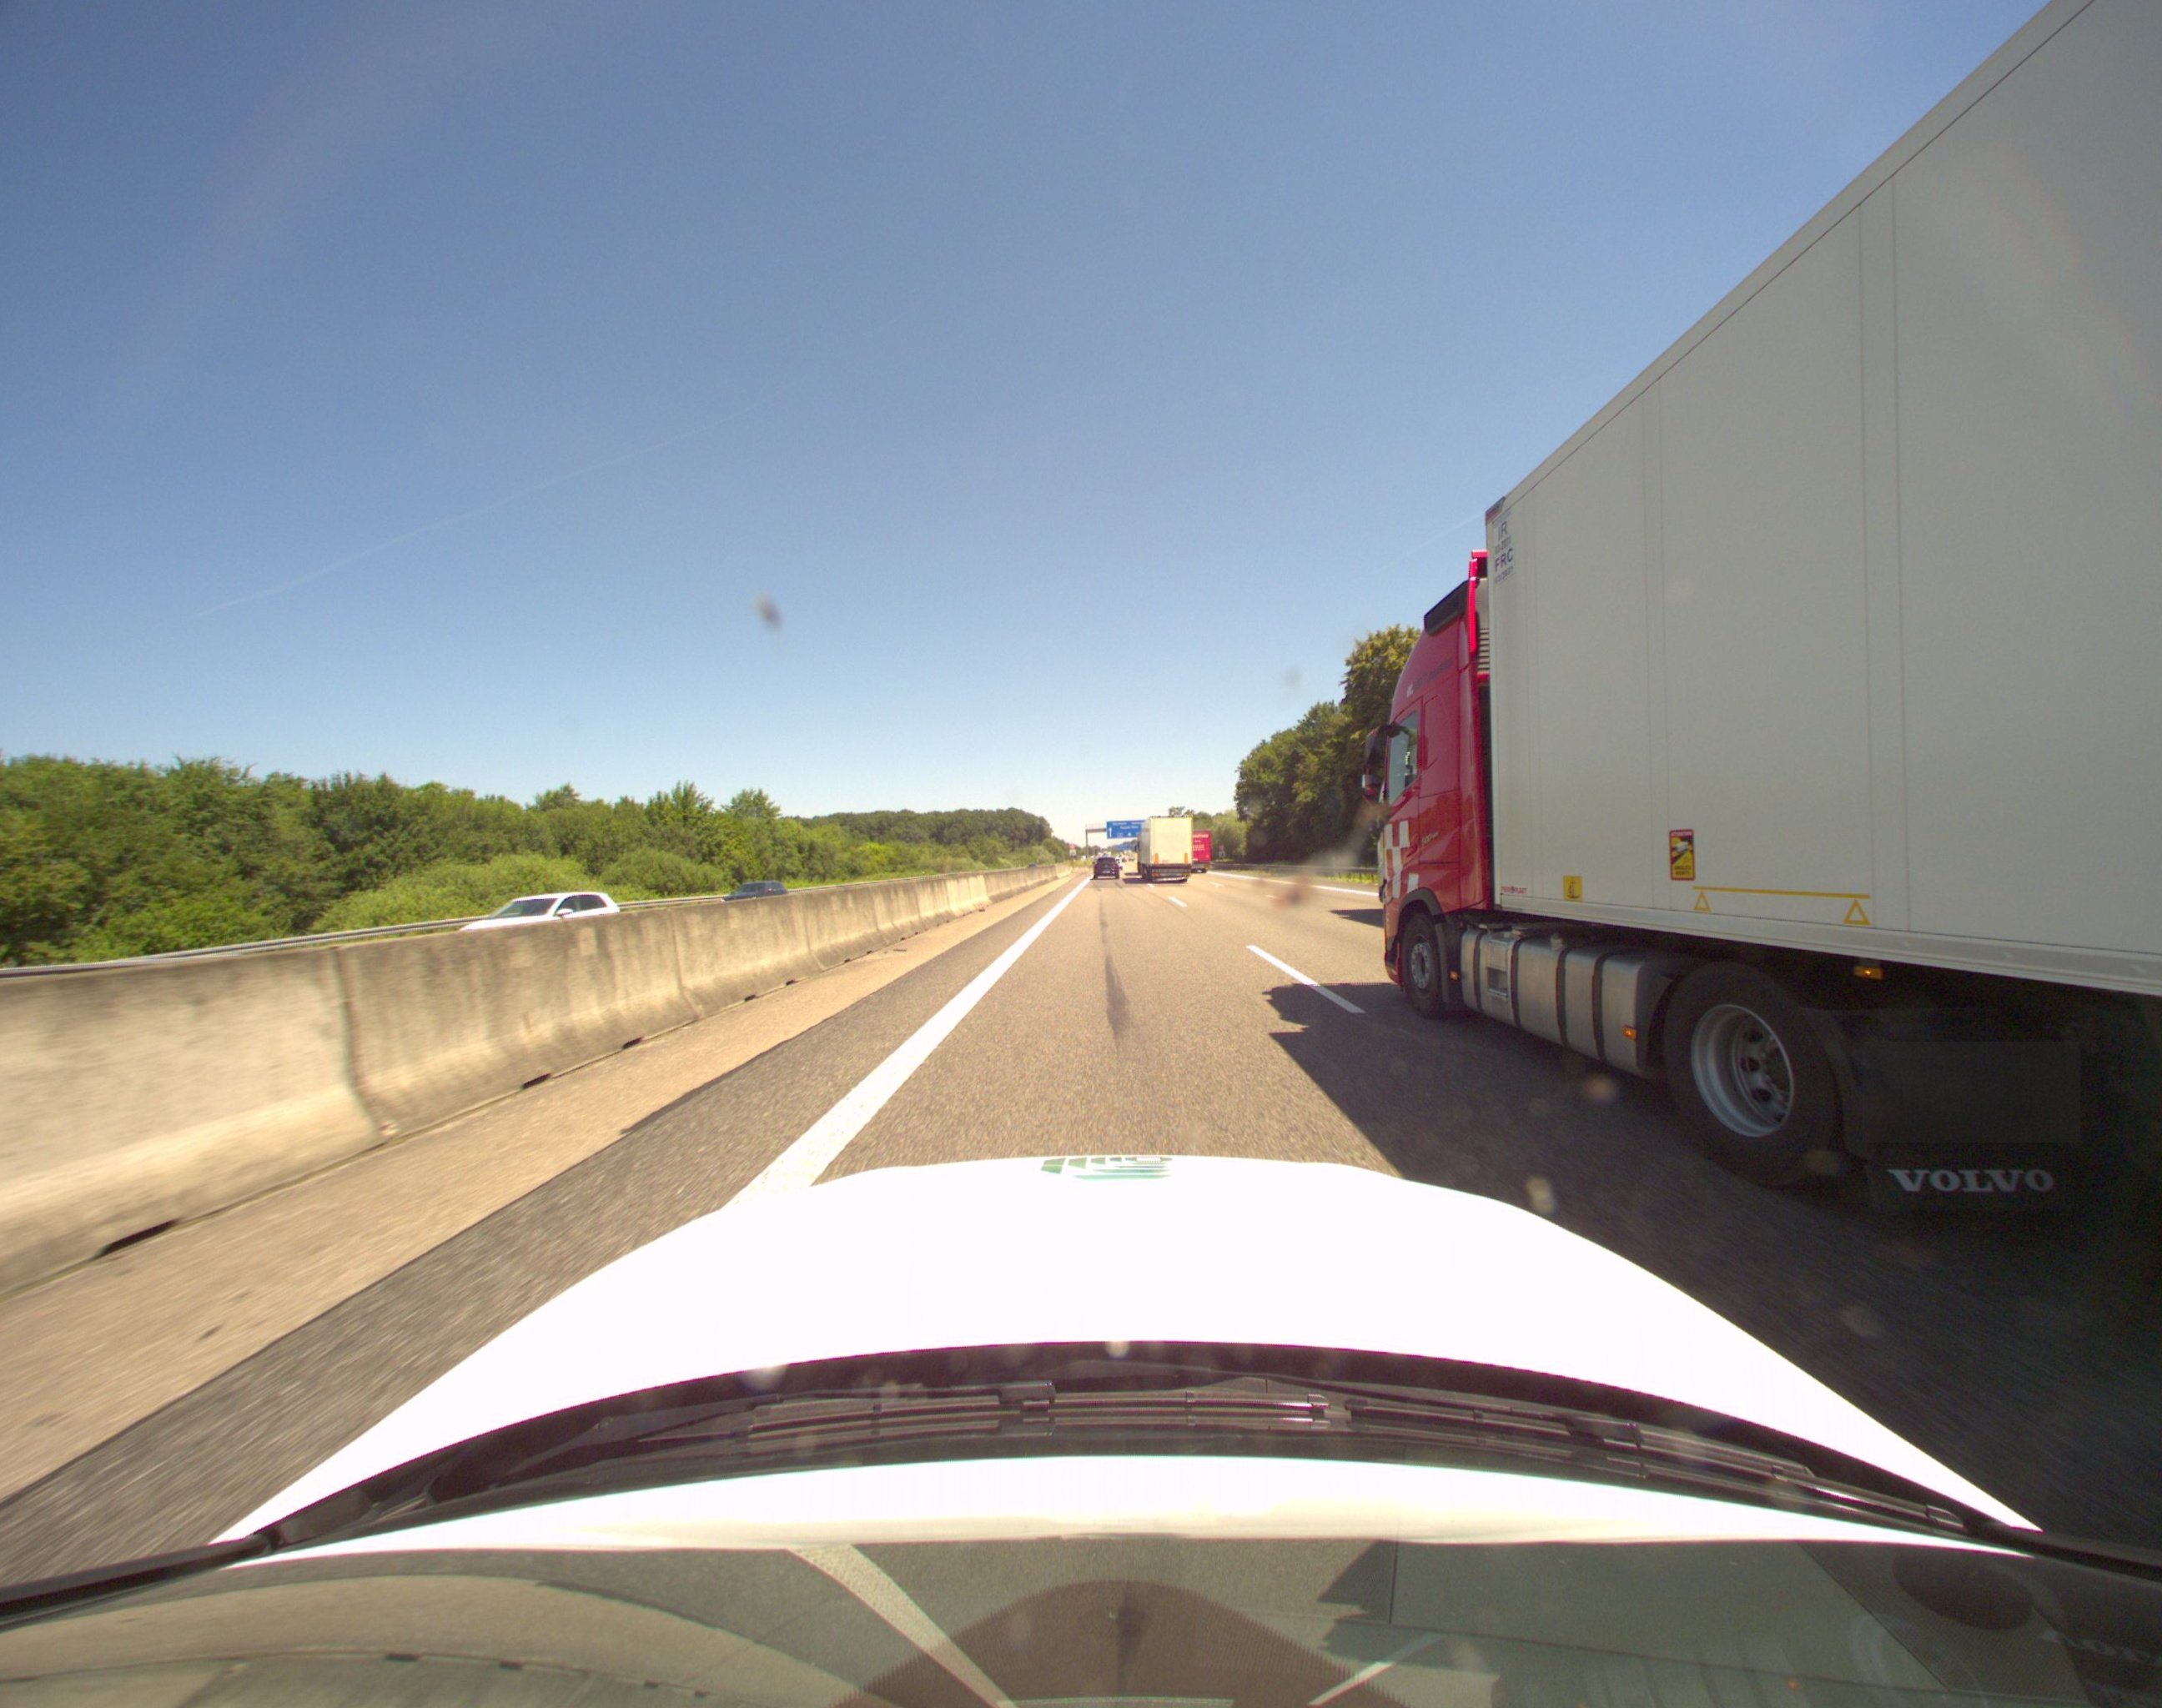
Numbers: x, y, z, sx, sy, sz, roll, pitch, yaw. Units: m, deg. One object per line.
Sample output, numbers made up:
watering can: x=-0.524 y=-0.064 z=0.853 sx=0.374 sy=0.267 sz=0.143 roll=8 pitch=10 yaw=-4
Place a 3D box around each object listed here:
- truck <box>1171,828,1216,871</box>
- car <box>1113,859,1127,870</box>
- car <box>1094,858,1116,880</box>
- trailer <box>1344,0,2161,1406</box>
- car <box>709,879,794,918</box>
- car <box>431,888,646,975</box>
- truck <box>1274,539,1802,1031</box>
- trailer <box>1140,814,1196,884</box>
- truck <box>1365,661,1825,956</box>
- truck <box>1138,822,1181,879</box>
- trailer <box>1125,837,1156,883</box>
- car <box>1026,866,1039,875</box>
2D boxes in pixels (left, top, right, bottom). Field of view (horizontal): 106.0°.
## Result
truck: x=11.355 y=-0.373 z=83.579 sx=3.044 sy=4.106 sz=13.221 roll=-1 pitch=-1 yaw=1
car: x=5.229 y=1.390 z=108.977 sx=1.733 sy=1.486 sz=4.003 roll=-1 pitch=0 yaw=3
car: x=1.822 y=1.116 z=62.114 sx=1.654 sy=1.549 sz=3.784 roll=0 pitch=0 yaw=1
trailer: x=4.198 y=-0.613 z=0.944 sx=2.927 sy=4.018 sz=16.204 roll=-1 pitch=-1 yaw=2
car: x=-15.698 y=2.089 z=39.114 sx=1.901 sy=1.479 sz=4.827 roll=-4 pitch=0 yaw=2
car: x=-12.604 y=1.711 z=19.369 sx=1.767 sy=1.538 sz=4.685 roll=-4 pitch=0 yaw=2
truck: x=4.444 y=-0.542 z=9.702 sx=2.930 sy=3.986 sz=6.103 roll=-1 pitch=-1 yaw=1
trailer: x=5.544 y=-0.255 z=54.123 sx=2.784 sy=4.035 sz=12.573 roll=-1 pitch=0 yaw=2
truck: x=9.110 y=-0.588 z=16.924 sx=3.013 sy=4.092 sz=10.984 roll=-1 pitch=-1 yaw=3
truck: x=5.820 y=-0.208 z=61.359 sx=2.789 sy=4.007 sz=6.023 roll=-1 pitch=0 yaw=2
trailer: x=5.741 y=0.624 z=80.537 sx=2.696 sy=4.068 sz=14.755 roll=-1 pitch=-1 yaw=3
car: x=-8.284 y=2.824 z=139.796 sx=1.763 sy=1.471 sz=4.002 roll=-3 pitch=-1 yaw=2
